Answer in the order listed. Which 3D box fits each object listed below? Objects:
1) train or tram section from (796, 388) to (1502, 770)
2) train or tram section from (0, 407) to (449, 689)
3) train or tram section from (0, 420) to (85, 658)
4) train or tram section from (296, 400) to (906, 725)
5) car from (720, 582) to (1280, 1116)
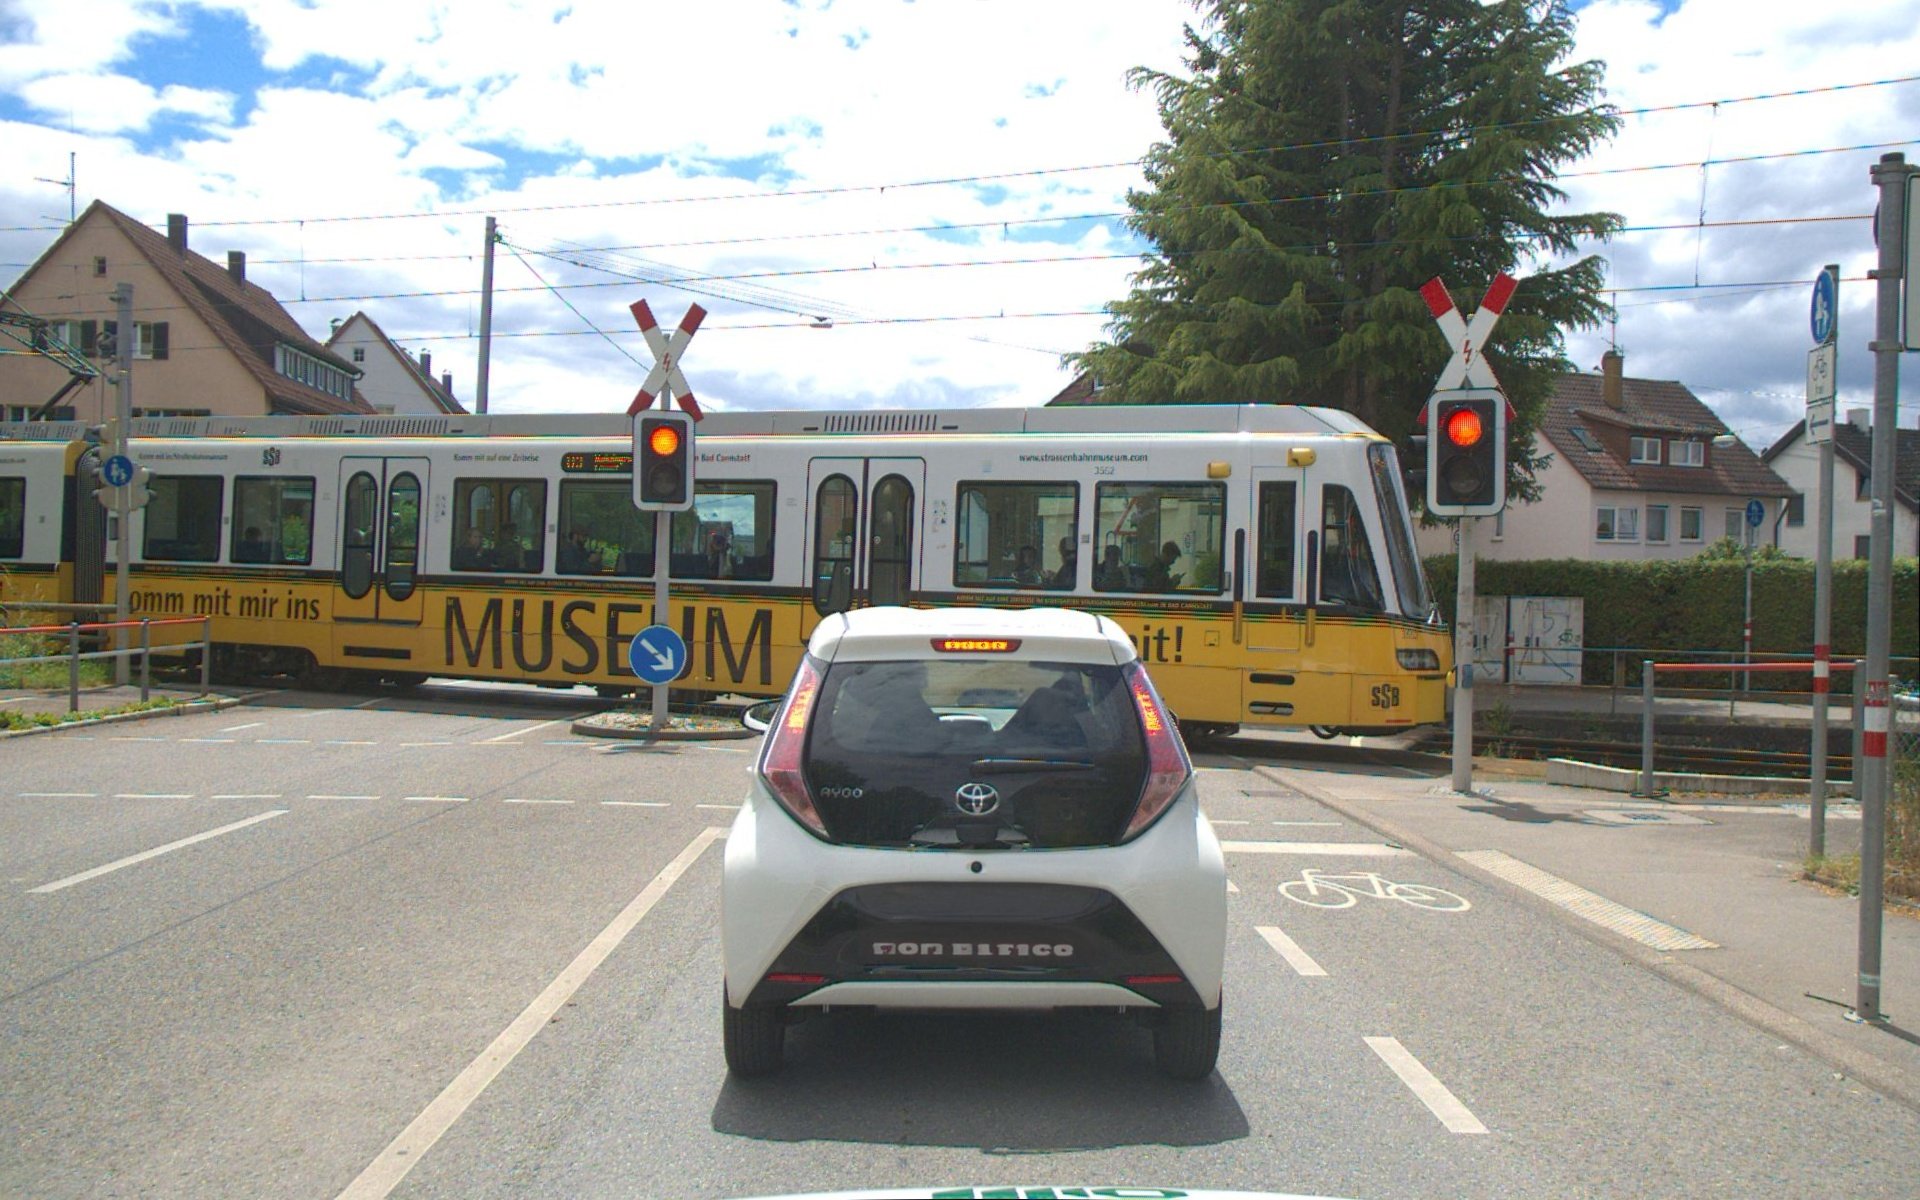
[{"bbox_3d":[2.166,-0.334,19.160,7.535,3.786,2.869,2,0,22],"label":"train or tram section"},{"bbox_3d":[-11.752,-0.818,24.902,7.535,3.786,2.869,2,0,22],"label":"train or tram section"},{"bbox_3d":[-18.715,-1.102,27.751,7.535,3.786,2.869,2,0,22],"label":"train or tram section"},{"bbox_3d":[-4.794,-0.560,22.025,7.535,3.786,2.869,2,0,22],"label":"train or tram section"},{"bbox_3d":[0.089,0.721,6.725,1.588,1.512,3.999,1,0,-1],"label":"car"}]
